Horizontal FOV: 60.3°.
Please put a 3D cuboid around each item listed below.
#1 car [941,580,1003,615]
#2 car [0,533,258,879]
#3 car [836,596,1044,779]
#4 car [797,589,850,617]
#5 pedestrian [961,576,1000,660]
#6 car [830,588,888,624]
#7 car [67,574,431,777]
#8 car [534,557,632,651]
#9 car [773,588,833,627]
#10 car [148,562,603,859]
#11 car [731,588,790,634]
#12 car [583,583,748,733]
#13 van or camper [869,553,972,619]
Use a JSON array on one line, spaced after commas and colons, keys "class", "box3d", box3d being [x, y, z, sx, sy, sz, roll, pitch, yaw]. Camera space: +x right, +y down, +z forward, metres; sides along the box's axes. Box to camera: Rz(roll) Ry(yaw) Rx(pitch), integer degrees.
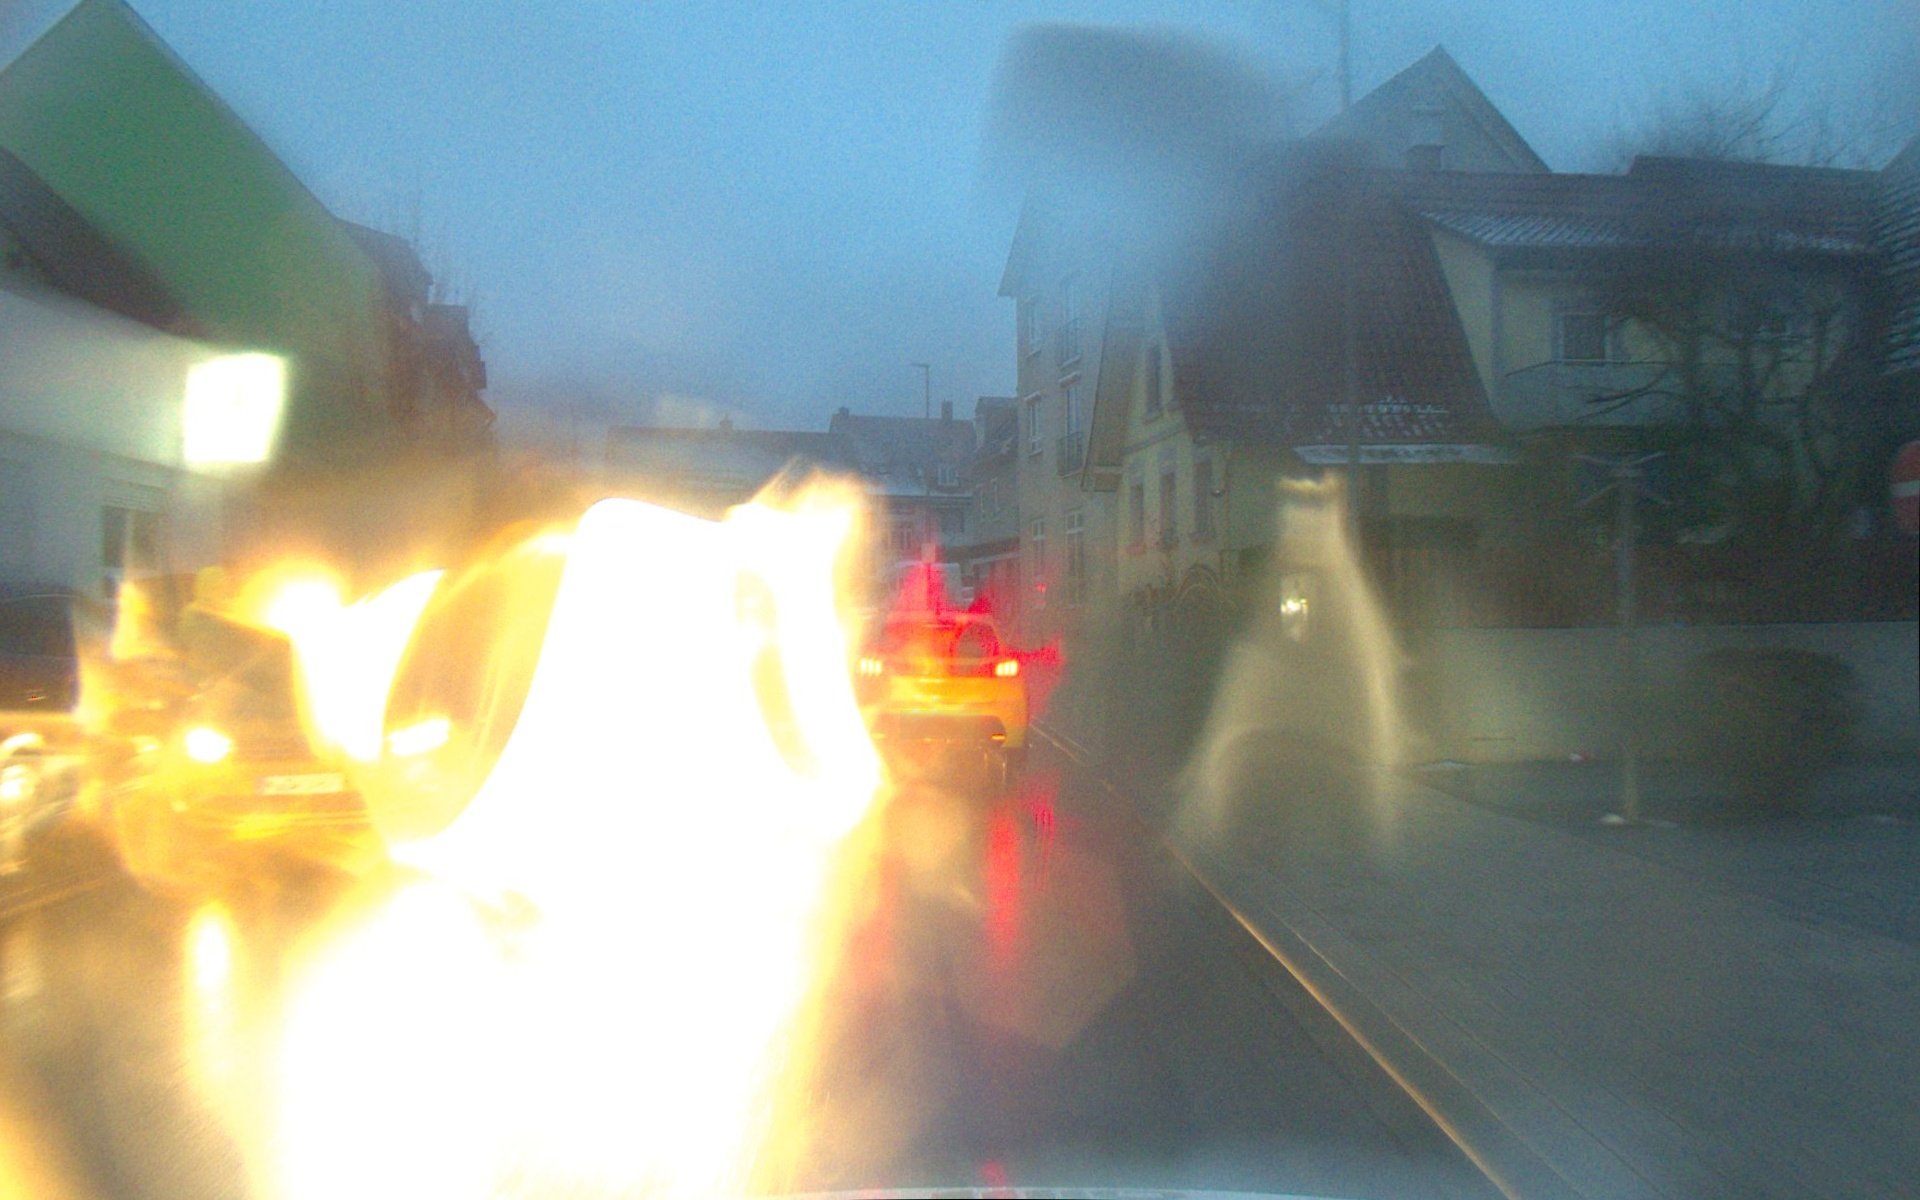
[{"class": "car", "box3d": [0.576, -0.125, 83.557, 1.763, 1.580, 3.976, -6, 2, -20]}, {"class": "car", "box3d": [-6.296, 0.544, 10.511, 2.046, 1.823, 5.016, 0, 0, -7]}, {"class": "car", "box3d": [-0.201, 0.765, 16.253, 1.777, 1.560, 3.999, 1, 0, -1]}, {"class": "car", "box3d": [-7.807, 0.163, 94.317, 1.797, 1.487, 4.519, -2, 1, -21]}, {"class": "pedestrian", "box3d": [0.432, 0.376, 35.496, 0.731, 1.759, 0.872, 0, 1, -6]}, {"class": "car", "box3d": [-5.070, 0.324, 82.679, 1.962, 1.639, 4.154, -2, -1, -17]}, {"class": "car", "box3d": [-6.894, 0.665, 16.668, 1.843, 1.740, 4.709, 1, 0, -3]}, {"class": "car", "box3d": [-11.188, 0.159, 49.544, 2.440, 2.605, 6.745, 1, -1, -10]}, {"class": "car", "box3d": [-7.851, 0.373, 82.159, 1.964, 1.795, 4.326, -2, 1, -19]}, {"class": "car", "box3d": [-4.042, 0.621, 12.421, 1.954, 1.735, 4.963, 2, 1, -5]}, {"class": "car", "box3d": [-7.419, 0.394, 61.258, 1.957, 1.616, 3.990, 1, 0, -10]}, {"class": "car", "box3d": [-3.920, 0.672, 22.148, 1.916, 1.573, 4.406, -2, 3, -10]}, {"class": "van or camper", "box3d": [-2.072, -0.676, 83.633, 2.618, 3.100, 6.680, -4, 1, -25]}]
